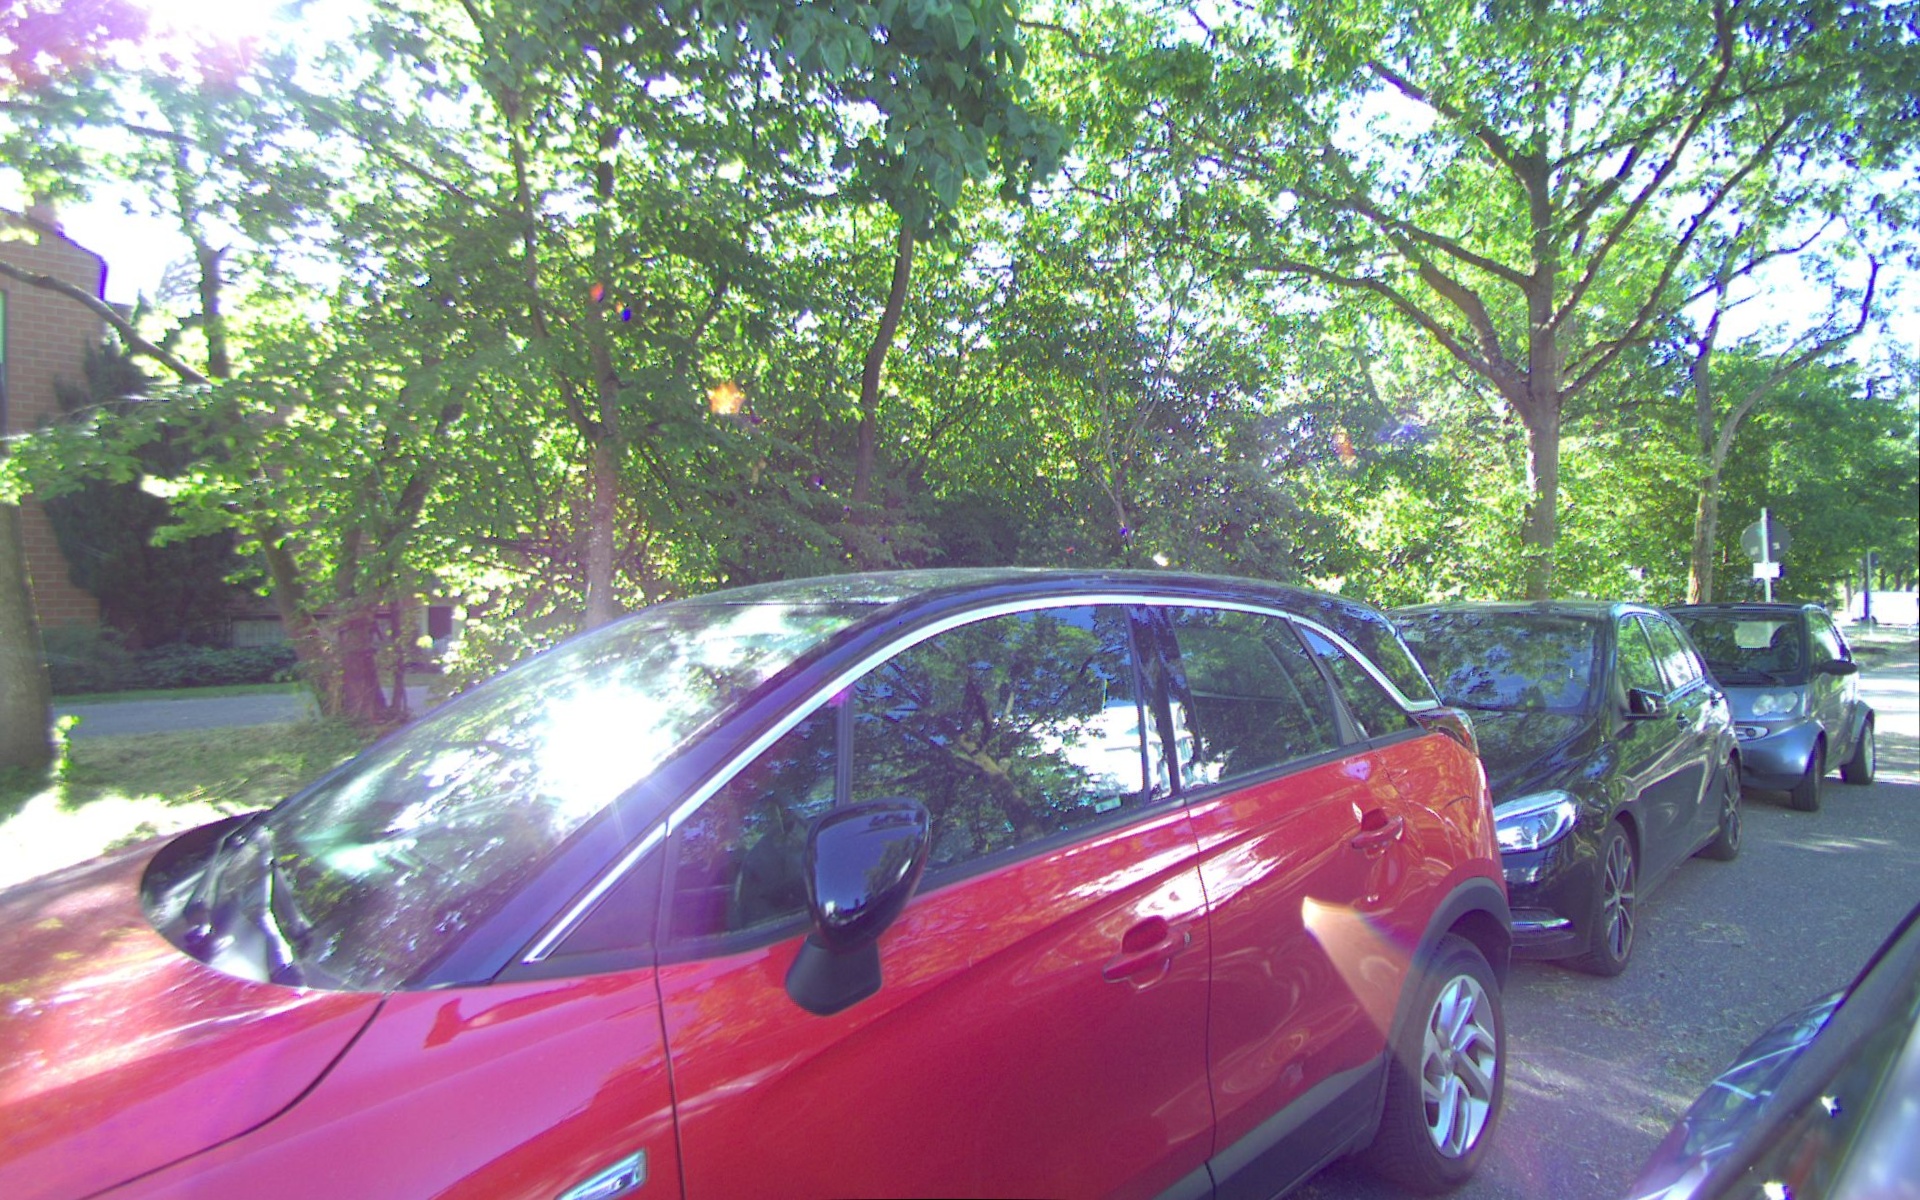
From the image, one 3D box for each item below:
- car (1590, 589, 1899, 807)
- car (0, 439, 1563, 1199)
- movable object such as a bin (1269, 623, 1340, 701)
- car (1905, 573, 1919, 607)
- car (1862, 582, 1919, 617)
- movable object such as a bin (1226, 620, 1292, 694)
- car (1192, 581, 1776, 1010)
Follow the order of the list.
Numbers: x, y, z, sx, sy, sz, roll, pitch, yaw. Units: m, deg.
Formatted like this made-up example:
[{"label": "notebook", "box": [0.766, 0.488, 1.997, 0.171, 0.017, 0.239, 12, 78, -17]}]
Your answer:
[{"label": "car", "box": [6.638, 0.688, 8.518, 2.629, 1.528, 1.497, 0, -1, -39]}, {"label": "car", "box": [-0.296, 0.673, 2.314, 3.995, 1.594, 1.681, 0, -1, -41]}, {"label": "movable object such as a bin", "box": [4.512, 0.795, 13.263, 0.454, 0.891, 0.728, -7, 6, -35]}, {"label": "car", "box": [76.641, -0.741, 78.763, 4.401, 2.578, 1.858, 2, 1, 45]}, {"label": "car", "box": [57.163, 0.001, 60.080, 1.966, 2.030, 5.262, 0, 1, -43]}, {"label": "movable object such as a bin", "box": [4.094, 0.766, 13.872, 0.454, 0.891, 0.728, -7, 6, -35]}, {"label": "car", "box": [3.168, 0.704, 5.672, 4.081, 1.528, 1.713, 0, -1, -44]}]
